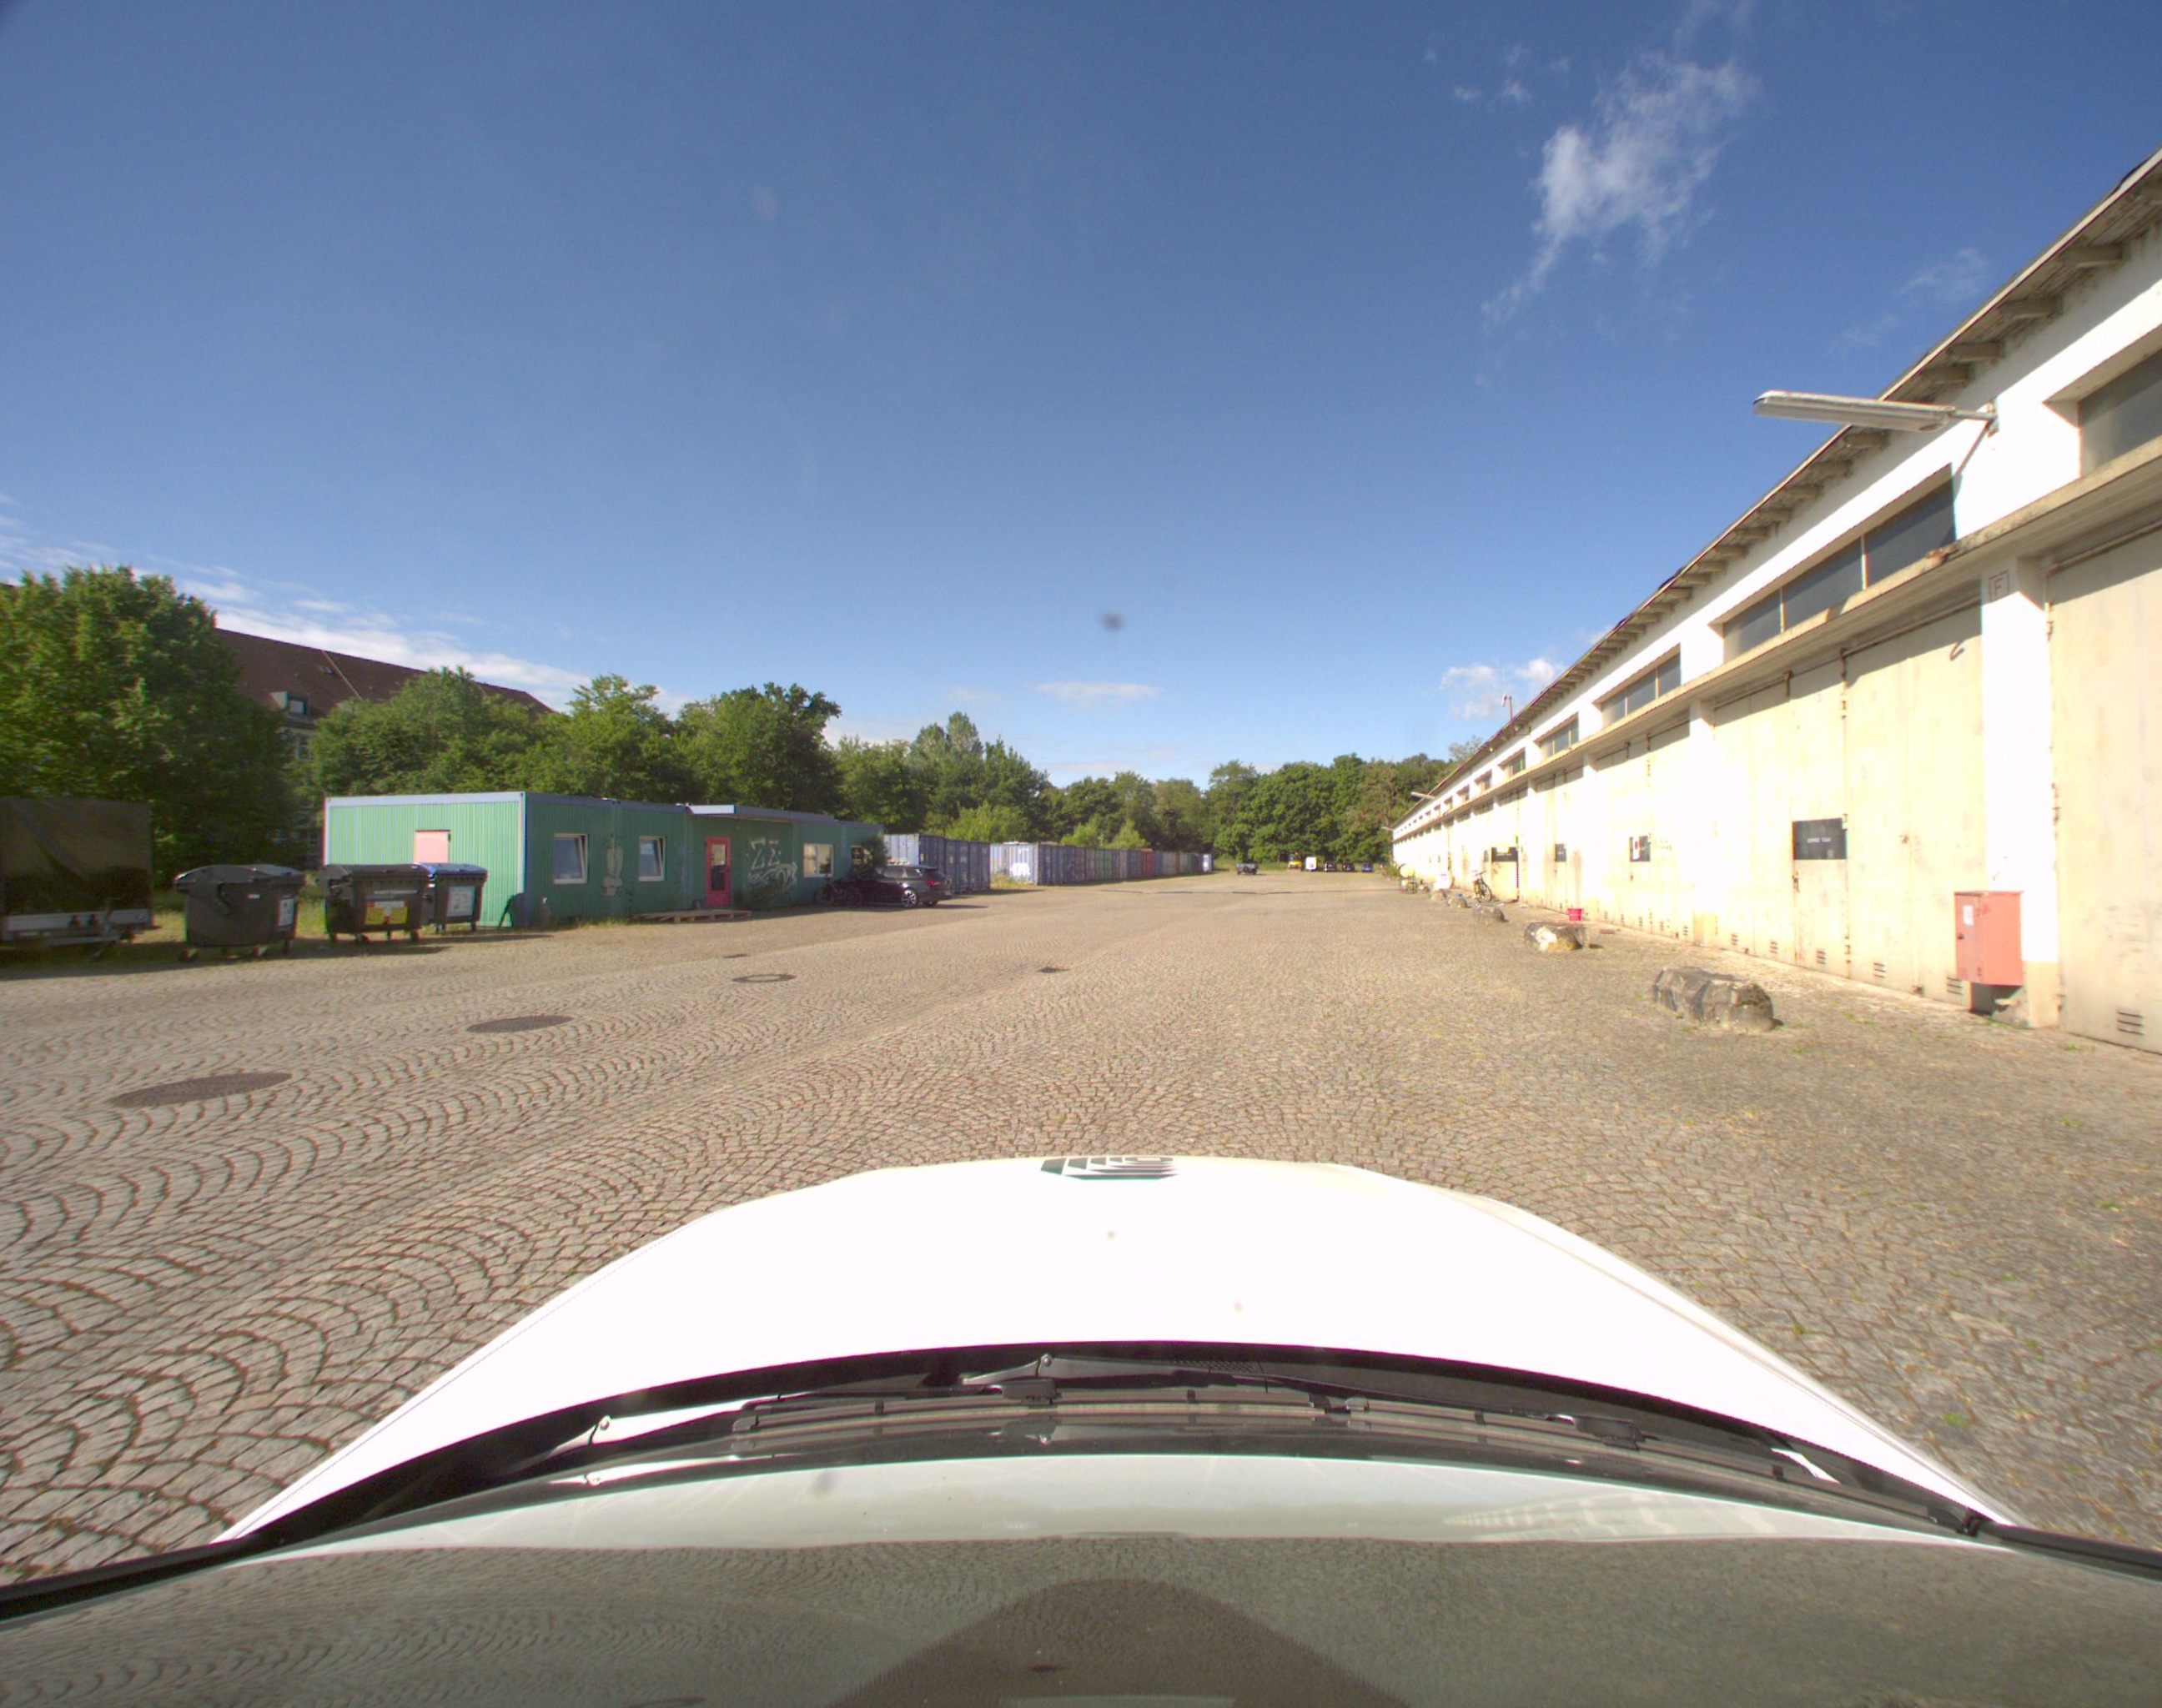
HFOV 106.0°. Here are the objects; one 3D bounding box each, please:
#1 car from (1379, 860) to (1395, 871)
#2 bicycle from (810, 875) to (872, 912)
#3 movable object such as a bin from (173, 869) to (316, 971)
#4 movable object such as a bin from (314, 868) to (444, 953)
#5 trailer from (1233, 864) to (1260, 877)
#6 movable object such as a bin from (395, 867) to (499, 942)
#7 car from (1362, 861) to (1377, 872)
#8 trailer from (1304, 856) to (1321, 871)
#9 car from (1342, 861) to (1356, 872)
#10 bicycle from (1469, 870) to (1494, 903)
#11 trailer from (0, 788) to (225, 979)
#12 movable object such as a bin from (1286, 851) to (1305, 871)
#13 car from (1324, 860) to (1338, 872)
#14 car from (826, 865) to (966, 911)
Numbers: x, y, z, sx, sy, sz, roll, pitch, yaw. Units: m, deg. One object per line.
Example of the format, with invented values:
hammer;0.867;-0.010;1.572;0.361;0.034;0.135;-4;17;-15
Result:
car;43.824;1.693;116.525;1.728;1.436;4.207;1;1;25
bicycle;-7.770;1.265;26.383;1.790;1.170;0.671;0;-1;15
movable object such as a bin;-12.936;0.975;12.676;1.159;1.458;1.425;1;-1;-29
movable object such as a bin;-12.749;0.984;14.841;1.010;1.458;1.447;0;-1;18
trailer;21.047;2.100;103.413;2.684;1.465;6.275;1;1;17
movable object such as a bin;-12.937;0.999;16.670;0.877;1.458;1.443;0;-1;7
car;41.064;1.753;115.935;1.729;1.436;4.206;1;1;23
trailer;34.205;1.343;120.363;2.175;2.094;5.778;1;1;18
car;38.472;1.764;116.845;1.849;1.470;4.316;1;1;18
bicycle;13.695;1.101;27.816;0.658;1.068;1.835;0;-1;30
trailer;-16.044;0.397;12.456;4.603;2.568;1.959;0;-1;14
movable object such as a bin;32.145;1.012;121.665;2.287;2.896;5.779;1;1;19
car;36.007;1.666;117.260;1.849;1.589;4.316;1;1;18
car;-6.290;1.125;27.836;4.219;1.449;1.939;0;-1;16
